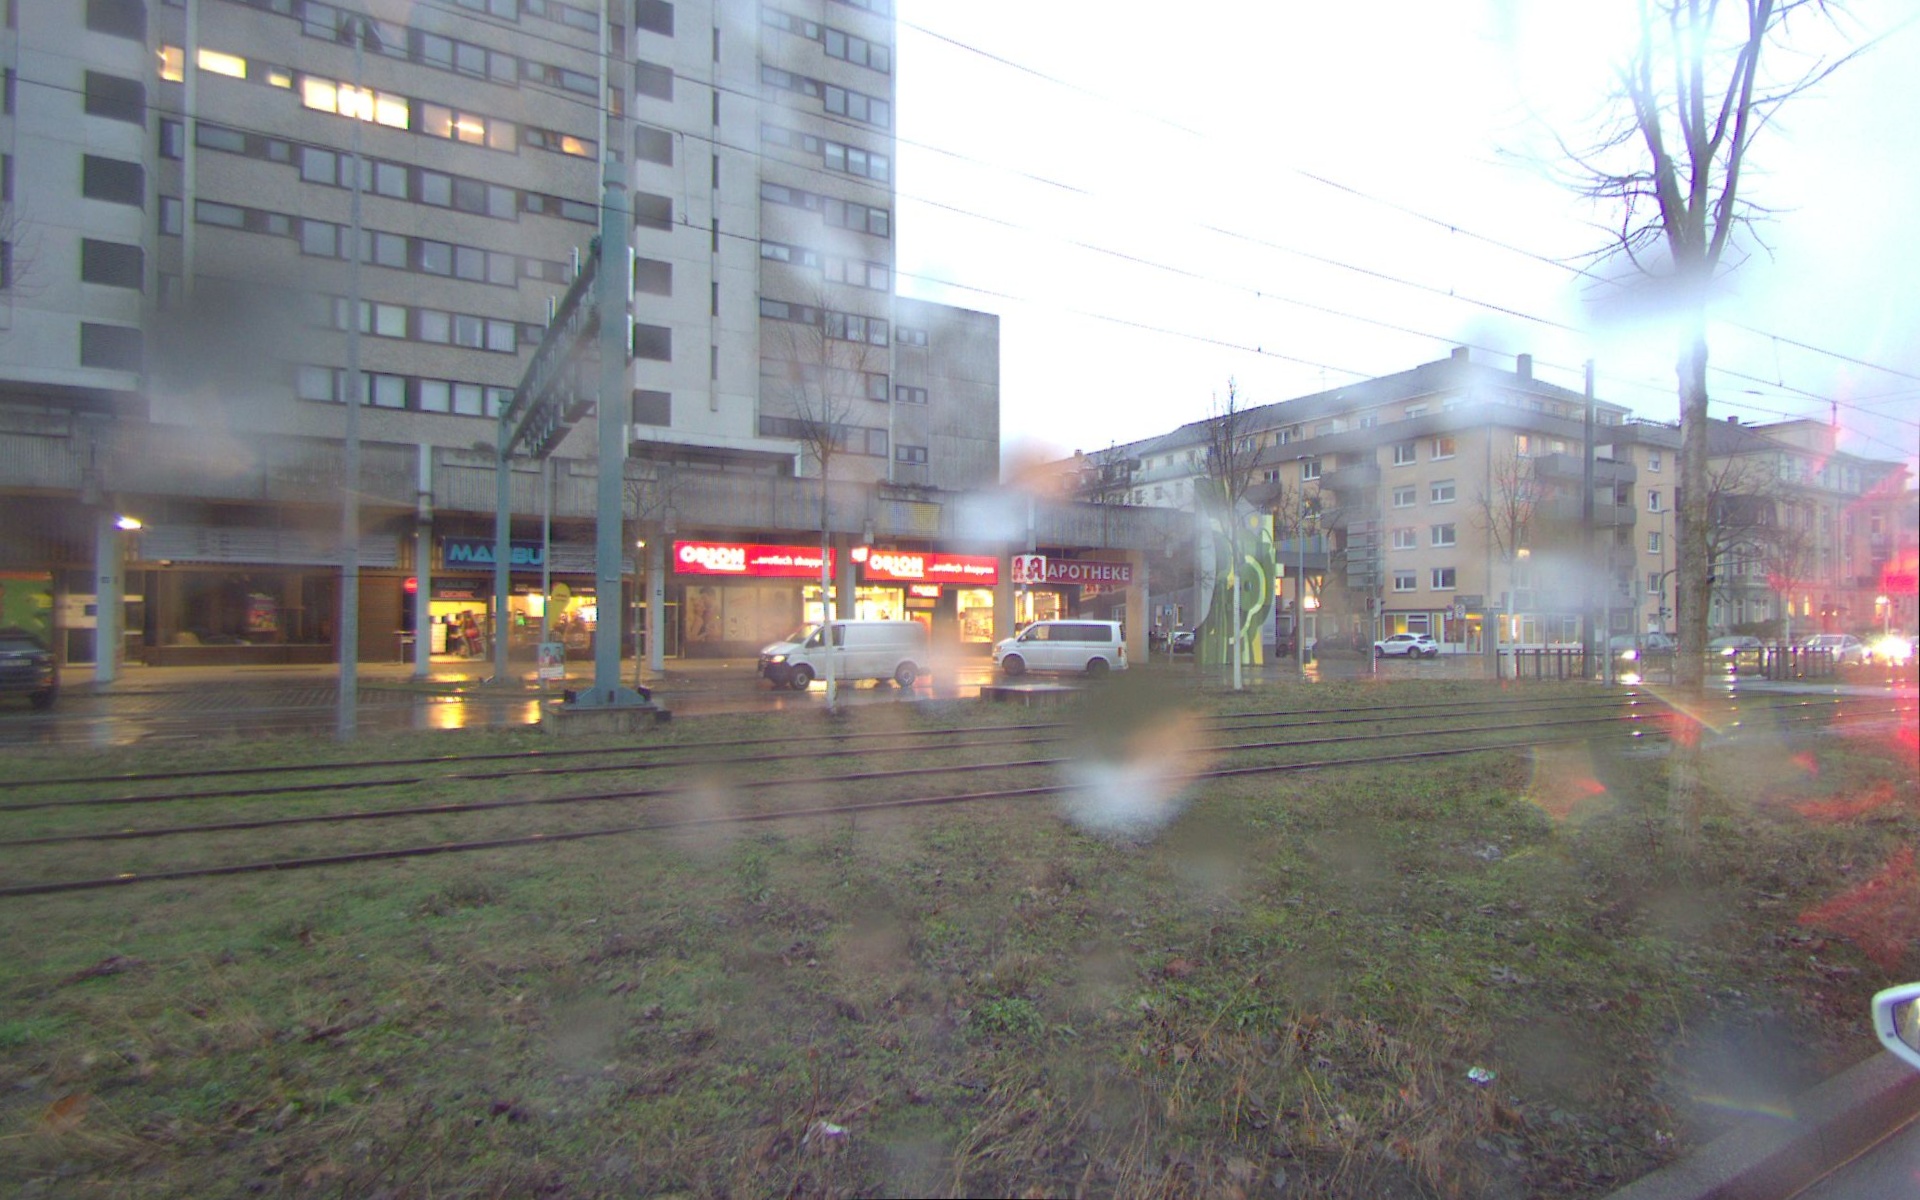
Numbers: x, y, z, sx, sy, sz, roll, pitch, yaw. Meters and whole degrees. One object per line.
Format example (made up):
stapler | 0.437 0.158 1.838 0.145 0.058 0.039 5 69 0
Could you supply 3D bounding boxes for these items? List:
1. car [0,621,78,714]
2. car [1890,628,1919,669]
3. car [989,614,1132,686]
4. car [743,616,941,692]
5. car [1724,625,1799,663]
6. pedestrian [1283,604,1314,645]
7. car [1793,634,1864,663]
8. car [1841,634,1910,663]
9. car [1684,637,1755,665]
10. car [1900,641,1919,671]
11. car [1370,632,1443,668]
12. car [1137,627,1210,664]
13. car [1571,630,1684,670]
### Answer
car | -20.780 1.374 21.183 4.067 1.715 1.982 2 0 28
car | 40.814 2.052 41.847 3.954 1.623 1.983 2 0 -31
car | 3.575 1.706 35.488 4.734 2.274 2.001 2 0 15
car | -3.496 1.584 29.941 5.490 2.073 1.987 2 0 -26
car | 44.991 2.456 56.375 3.953 2.040 1.984 2 0 -31
pedestrian | 17.111 1.244 50.777 1.253 2.040 1.004 -1 -1 37
car | 41.459 2.287 47.931 4.108 1.294 1.679 2 -2 -36
car | 54.663 2.878 59.969 3.952 1.623 1.941 2 0 -30
car | 37.212 2.484 49.198 3.498 1.294 1.681 1 -1 -33
car | 53.326 3.059 54.884 3.953 1.598 1.858 1 -1 -30
car | 27.827 3.083 62.651 1.825 1.968 3.720 1 0 -37
car | 12.383 2.625 58.170 3.830 2.040 1.884 2 0 -31
car | 25.035 1.838 37.636 4.265 1.350 1.850 2 0 -30
